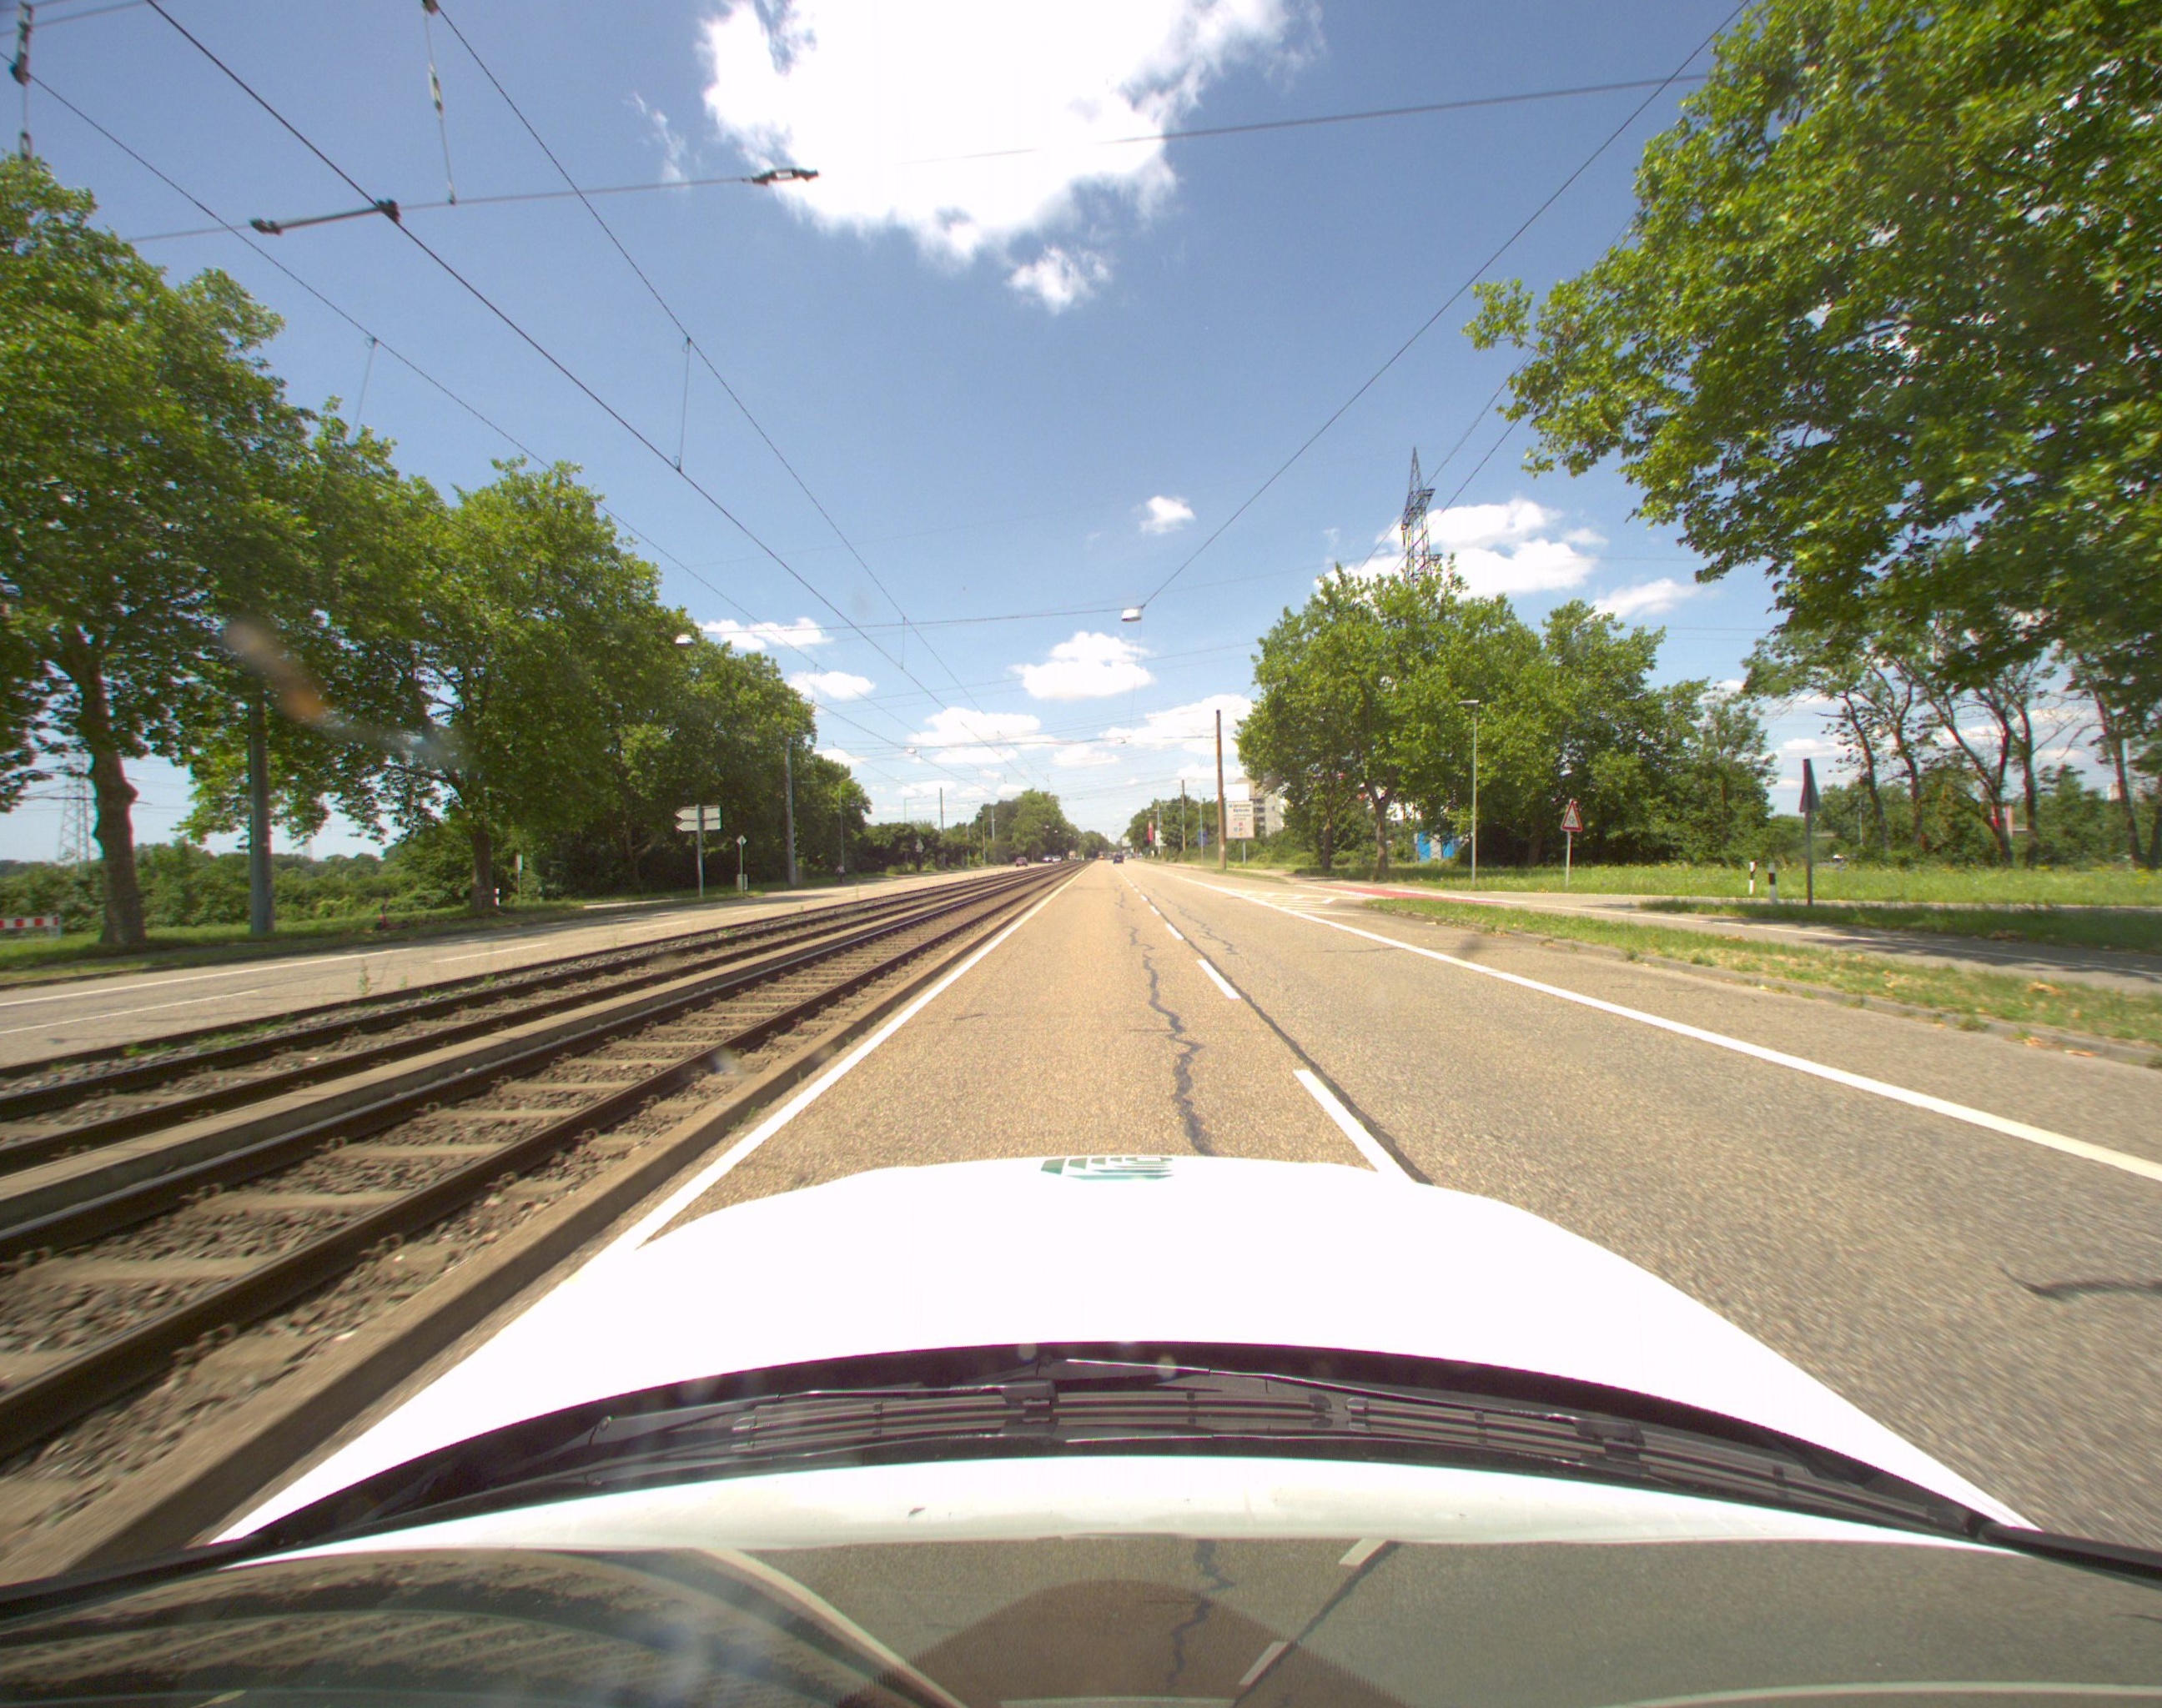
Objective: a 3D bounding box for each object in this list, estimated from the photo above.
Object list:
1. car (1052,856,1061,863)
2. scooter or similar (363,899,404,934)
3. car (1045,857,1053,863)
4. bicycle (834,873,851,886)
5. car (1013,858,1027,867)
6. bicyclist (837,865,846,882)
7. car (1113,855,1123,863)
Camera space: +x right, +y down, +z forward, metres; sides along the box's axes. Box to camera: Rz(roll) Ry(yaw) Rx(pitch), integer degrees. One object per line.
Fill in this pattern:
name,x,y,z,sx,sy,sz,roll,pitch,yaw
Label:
car,-5.479,1.146,180.352,1.709,1.428,3.903,-2,0,2
scooter or similar,-21.783,1.937,25.437,0.297,1.022,0.999,1,0,9
car,-7.855,1.438,201.524,1.595,1.273,3.838,-2,0,2
bicycle,-18.165,1.945,62.044,0.513,0.857,1.934,-2,0,4
car,-10.201,1.421,136.400,1.868,1.332,3.920,-3,0,2
bicyclist,-18.246,1.458,62.031,0.452,1.272,0.398,-2,0,4
car,6.425,0.829,140.717,1.581,1.343,3.272,-2,1,0
